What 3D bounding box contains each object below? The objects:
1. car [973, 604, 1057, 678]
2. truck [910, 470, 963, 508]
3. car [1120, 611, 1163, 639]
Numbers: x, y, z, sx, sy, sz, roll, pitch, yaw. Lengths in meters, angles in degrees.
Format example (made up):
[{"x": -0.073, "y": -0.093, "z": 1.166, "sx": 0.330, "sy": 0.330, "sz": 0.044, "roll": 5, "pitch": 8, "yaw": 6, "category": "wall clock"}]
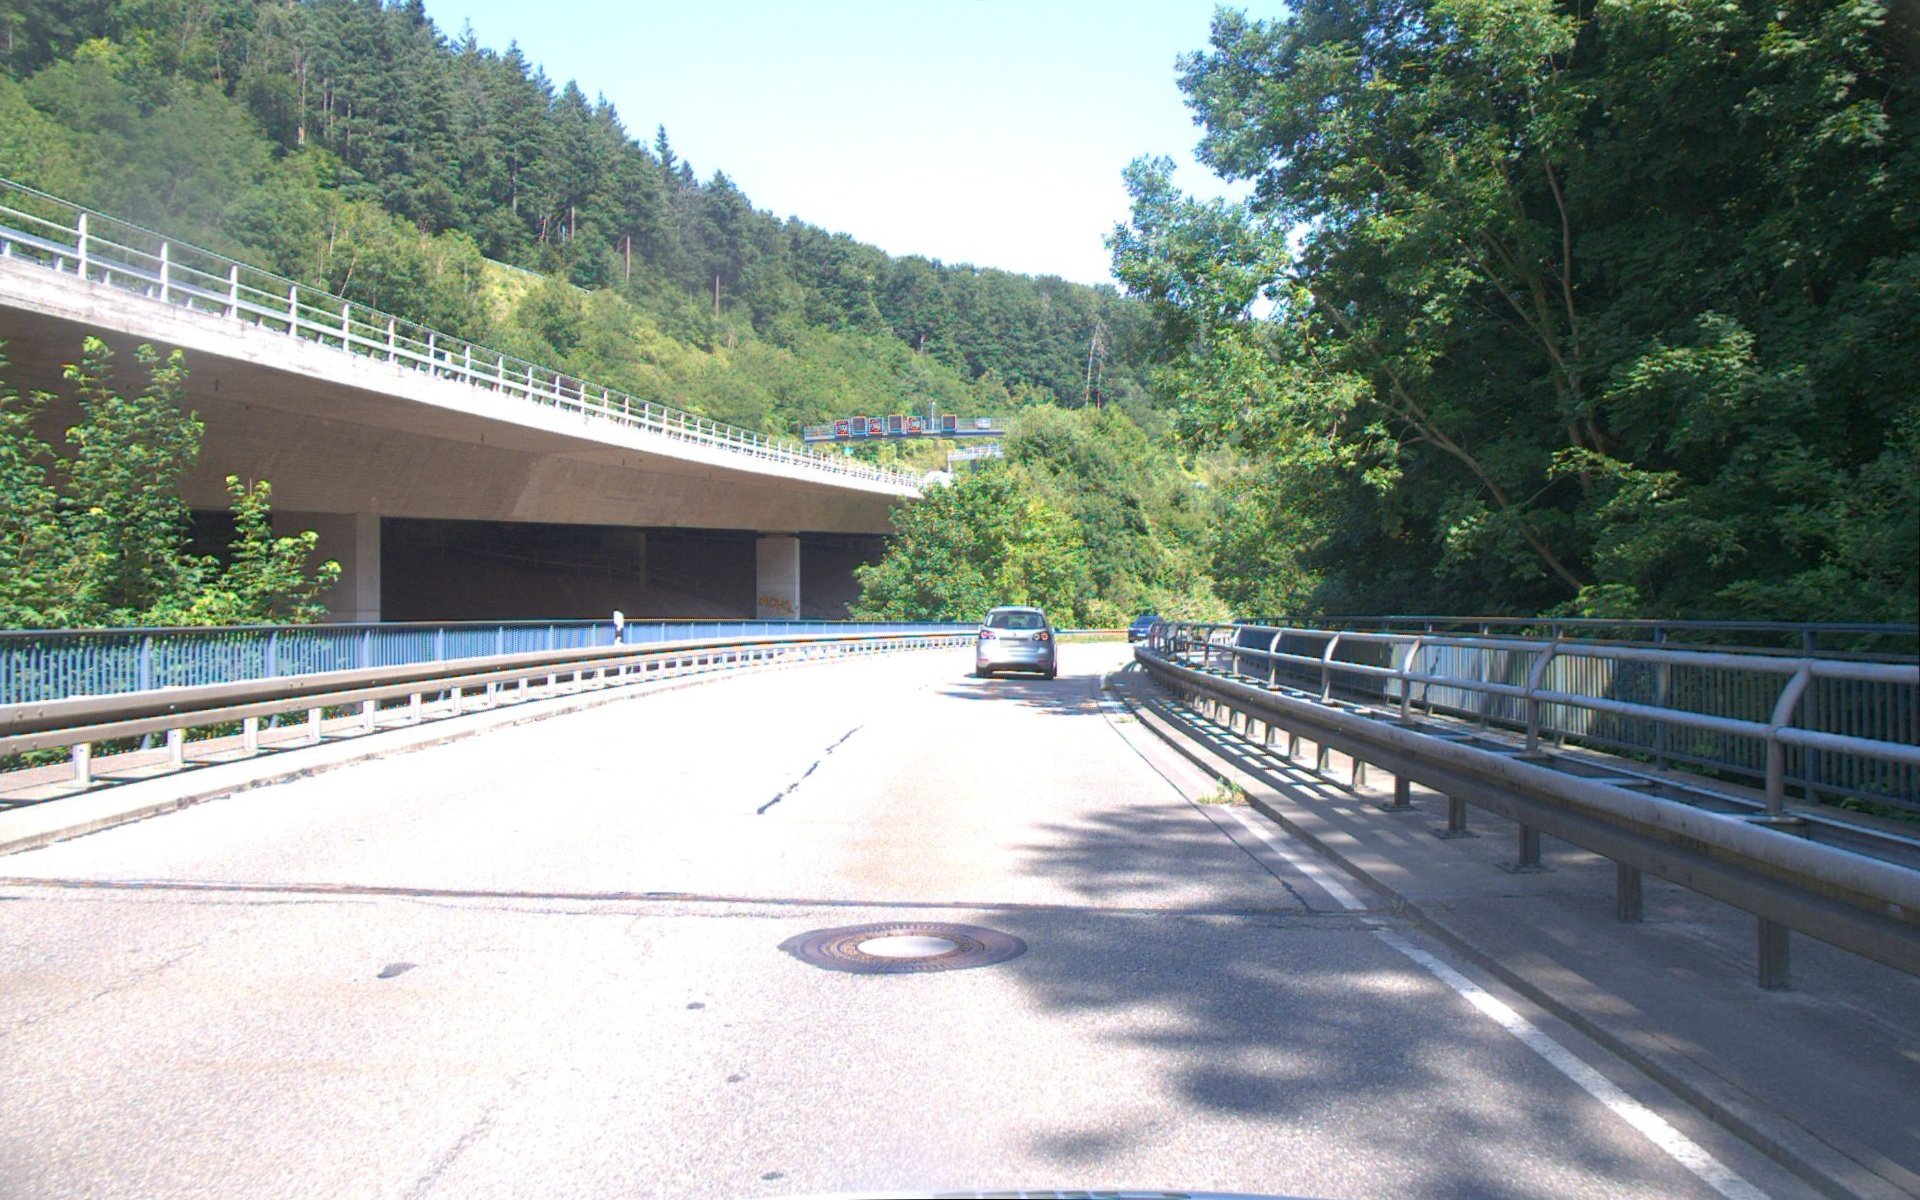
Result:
[{"x": 1.299, "y": 0.910, "z": 37.295, "sx": 1.714, "sy": 1.546, "sz": 4.161, "roll": 1, "pitch": -1, "yaw": 4, "category": "car"}, {"x": -2.326, "y": -11.341, "z": 169.564, "sx": 3.298, "sy": 3.413, "sz": 10.186, "roll": 1, "pitch": 1, "yaw": 12, "category": "truck"}, {"x": 11.157, "y": 1.521, "z": 101.433, "sx": 1.858, "sy": 1.608, "sz": 4.558, "roll": 1, "pitch": -1, "yaw": 15, "category": "car"}]
